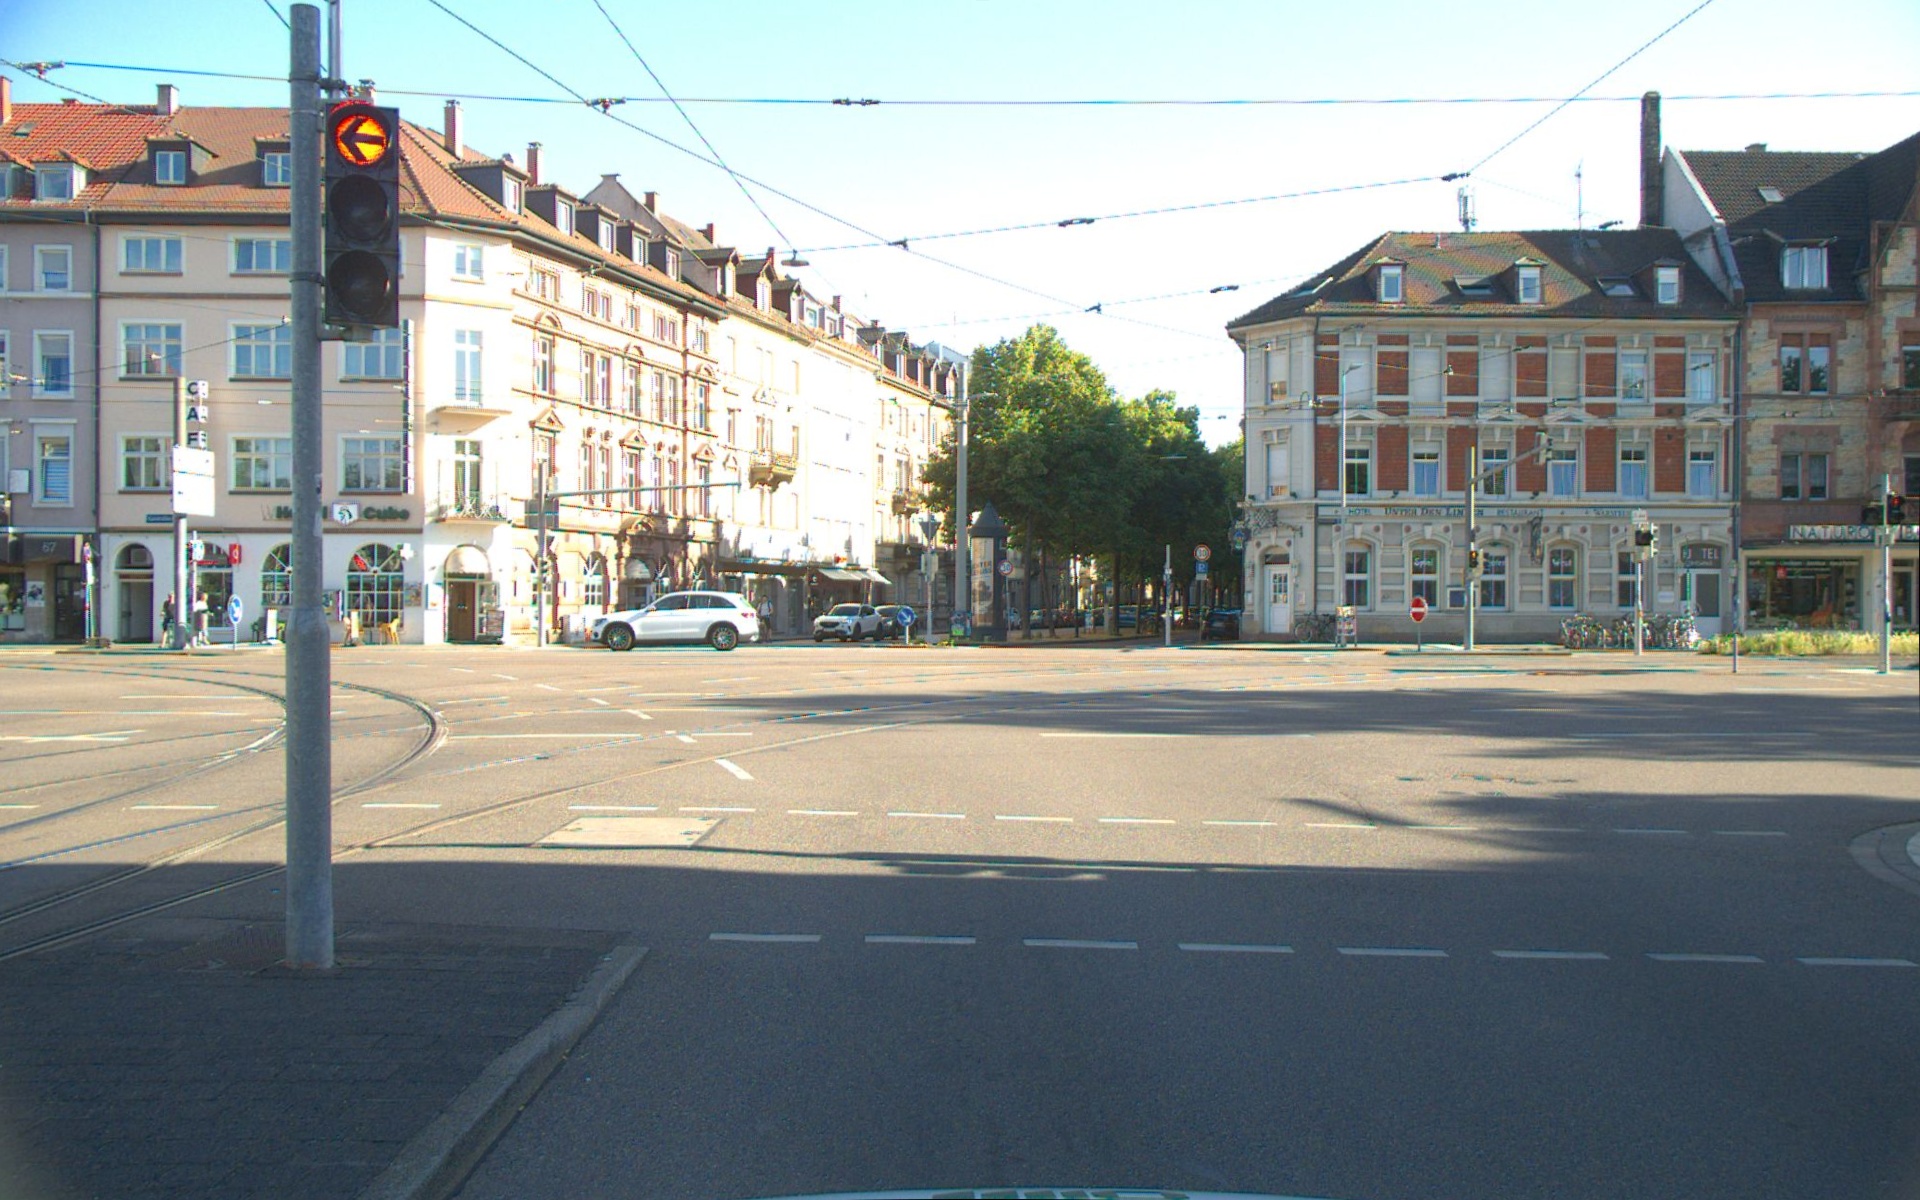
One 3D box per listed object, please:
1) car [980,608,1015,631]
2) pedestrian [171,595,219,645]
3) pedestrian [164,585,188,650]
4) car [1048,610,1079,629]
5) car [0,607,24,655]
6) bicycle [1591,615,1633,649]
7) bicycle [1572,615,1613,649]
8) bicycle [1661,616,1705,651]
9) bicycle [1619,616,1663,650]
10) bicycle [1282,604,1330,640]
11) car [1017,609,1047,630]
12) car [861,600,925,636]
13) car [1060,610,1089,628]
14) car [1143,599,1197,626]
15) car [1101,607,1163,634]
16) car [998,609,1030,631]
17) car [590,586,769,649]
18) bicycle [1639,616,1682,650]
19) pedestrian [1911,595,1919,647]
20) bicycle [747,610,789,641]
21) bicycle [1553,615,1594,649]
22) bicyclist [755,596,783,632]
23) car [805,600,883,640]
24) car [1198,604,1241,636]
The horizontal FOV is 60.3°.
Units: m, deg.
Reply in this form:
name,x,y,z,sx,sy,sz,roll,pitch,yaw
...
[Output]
name,x,y,z,sx,sy,sz,roll,pitch,yaw
car,2.531,1.309,110.010,1.704,1.422,4.127,3,0,9
pedestrian,-24.920,0.650,53.893,1.043,1.618,1.042,0,0,1
pedestrian,-24.664,0.540,52.029,0.498,2.049,0.505,0,0,2
car,8.249,1.537,131.700,1.704,1.422,4.127,3,0,13
car,-32.060,1.001,52.150,3.910,1.489,1.998,-1,1,-6
bicycle,21.120,1.040,53.587,0.593,1.069,1.641,0,0,-6
bicycle,20.468,1.029,53.561,0.593,1.069,1.641,0,0,-6
bicycle,23.332,1.077,53.416,0.593,1.069,1.641,0,0,-6
bicycle,21.946,1.053,53.319,0.593,1.069,1.641,0,0,-6
bicycle,11.978,0.758,57.295,1.603,1.243,0.607,0,0,16
car,5.339,1.412,122.833,1.704,1.422,4.127,3,0,9
car,-2.956,0.795,73.466,1.951,1.540,4.004,0,0,11
car,9.426,1.573,136.496,1.704,1.422,4.127,3,0,13
car,16.963,1.010,133.658,4.026,1.952,1.746,3,0,21
car,12.009,1.399,115.377,4.023,1.675,1.748,3,0,15
car,3.808,1.356,115.834,1.704,1.422,4.127,3,0,9
car,-7.702,0.457,45.827,4.754,1.689,1.997,0,0,-6
bicycle,22.606,1.064,53.395,0.593,1.069,1.641,0,0,-6
pedestrian,33.052,0.712,56.669,0.694,1.782,0.421,0,0,0
bicycle,-7.571,0.993,65.489,0.734,1.155,2.812,0,0,14
bicycle,19.827,1.017,53.505,0.593,1.069,1.641,0,0,-6
bicyclist,-7.557,0.542,65.458,0.776,1.399,1.109,0,0,14
car,-4.649,0.788,67.073,2.052,1.525,4.003,0,0,13
car,12.977,0.998,82.459,1.616,1.551,3.755,0,-1,17
